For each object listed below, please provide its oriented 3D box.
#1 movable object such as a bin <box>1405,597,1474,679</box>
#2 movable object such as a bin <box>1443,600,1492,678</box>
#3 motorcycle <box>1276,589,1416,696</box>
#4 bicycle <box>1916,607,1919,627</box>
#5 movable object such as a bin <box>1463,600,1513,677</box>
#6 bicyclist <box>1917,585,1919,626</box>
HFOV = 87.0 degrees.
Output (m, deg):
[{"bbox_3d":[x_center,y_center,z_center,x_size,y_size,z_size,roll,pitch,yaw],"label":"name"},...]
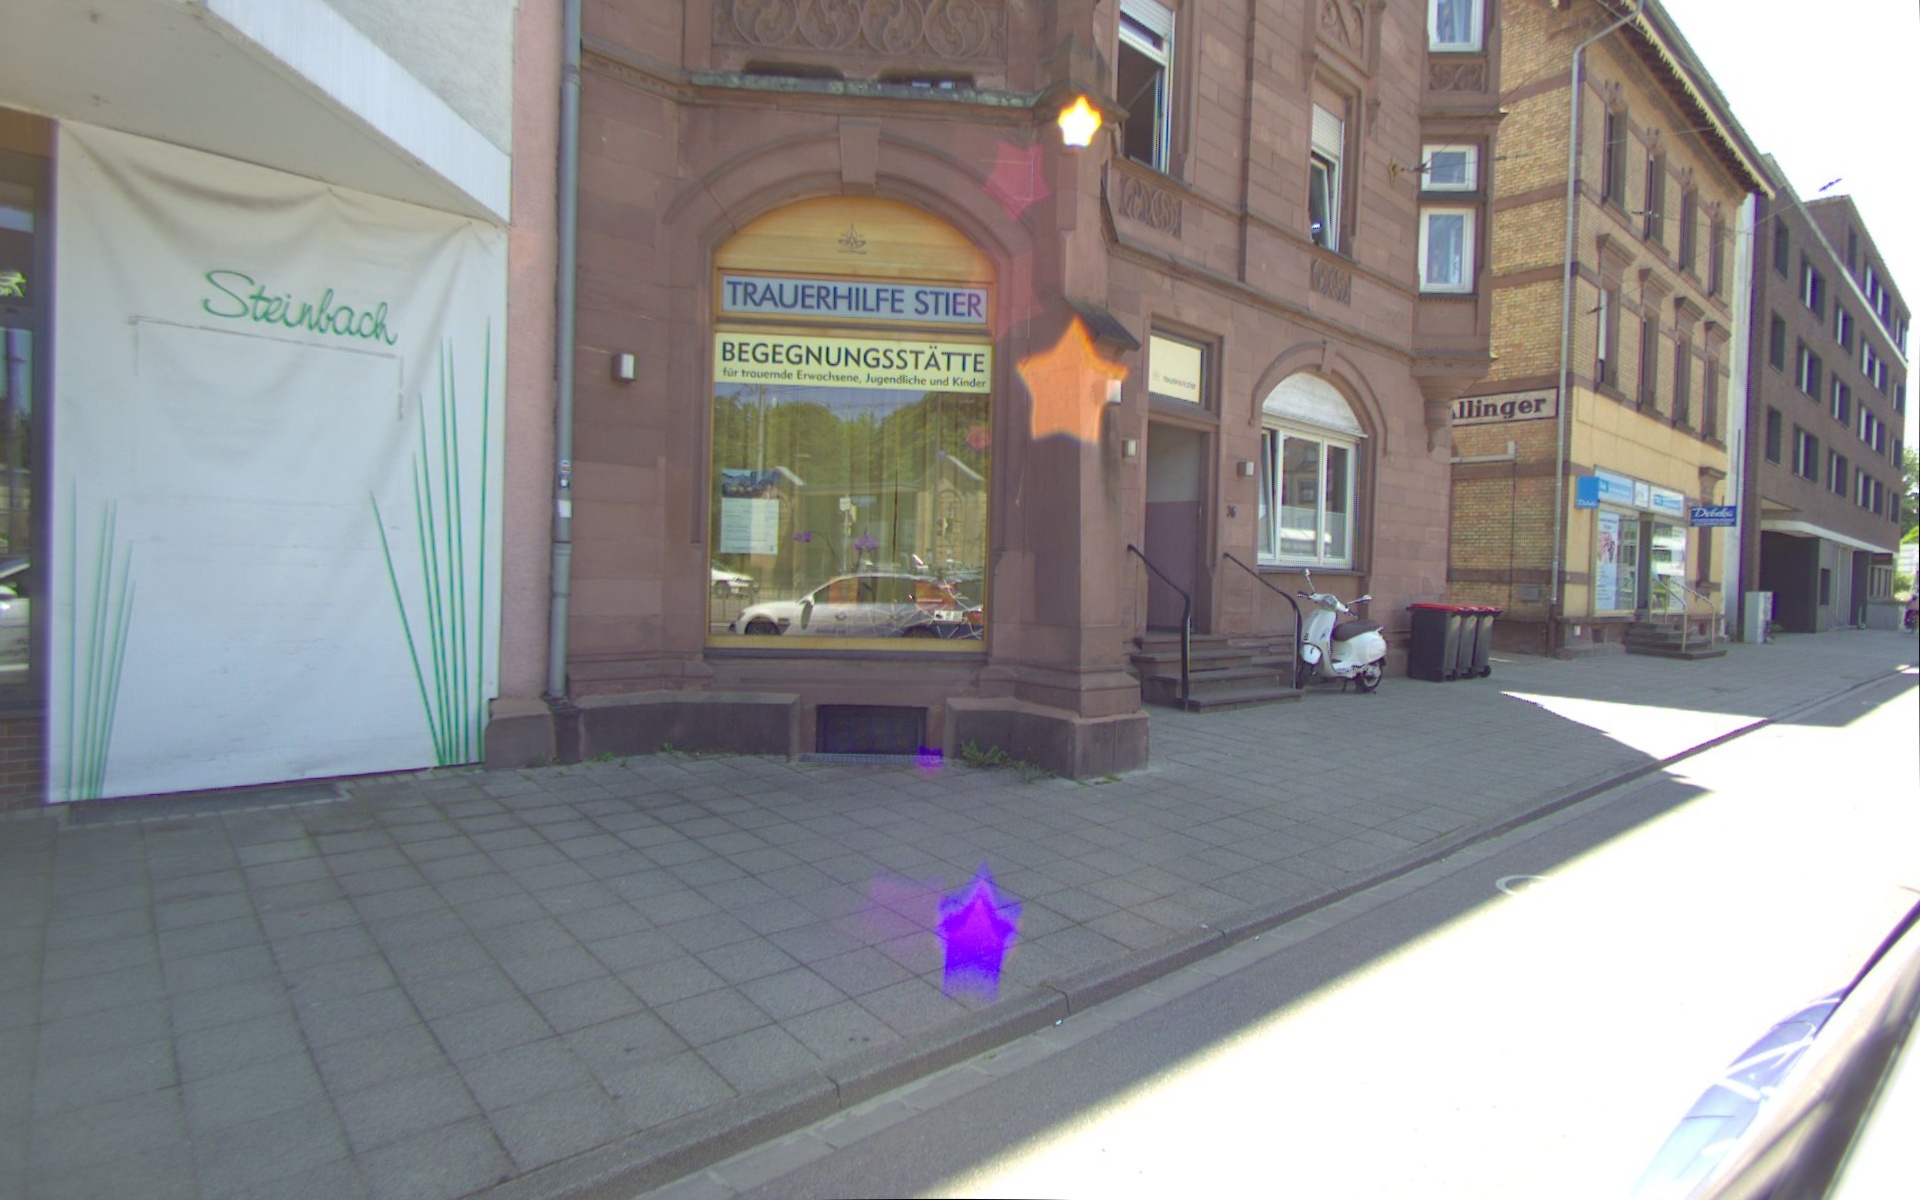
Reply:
[{"bbox_3d":[6.674,0.515,14.095,0.549,1.061,0.649,0,4,-42],"label":"movable object such as a bin"},{"bbox_3d":[7.200,0.540,14.352,0.549,1.061,0.376,0,4,-42],"label":"movable object such as a bin"},{"bbox_3d":[4.537,0.471,11.853,1.843,1.163,0.529,1,1,-33],"label":"motorcycle"},{"bbox_3d":[41.793,0.737,43.684,1.876,0.807,0.688,0,1,-44],"label":"bicycle"},{"bbox_3d":[7.672,0.542,14.695,0.646,1.061,0.376,0,4,-42],"label":"movable object such as a bin"},{"bbox_3d":[41.896,0.253,43.785,0.670,1.744,0.913,2,1,45],"label":"bicyclist"}]
